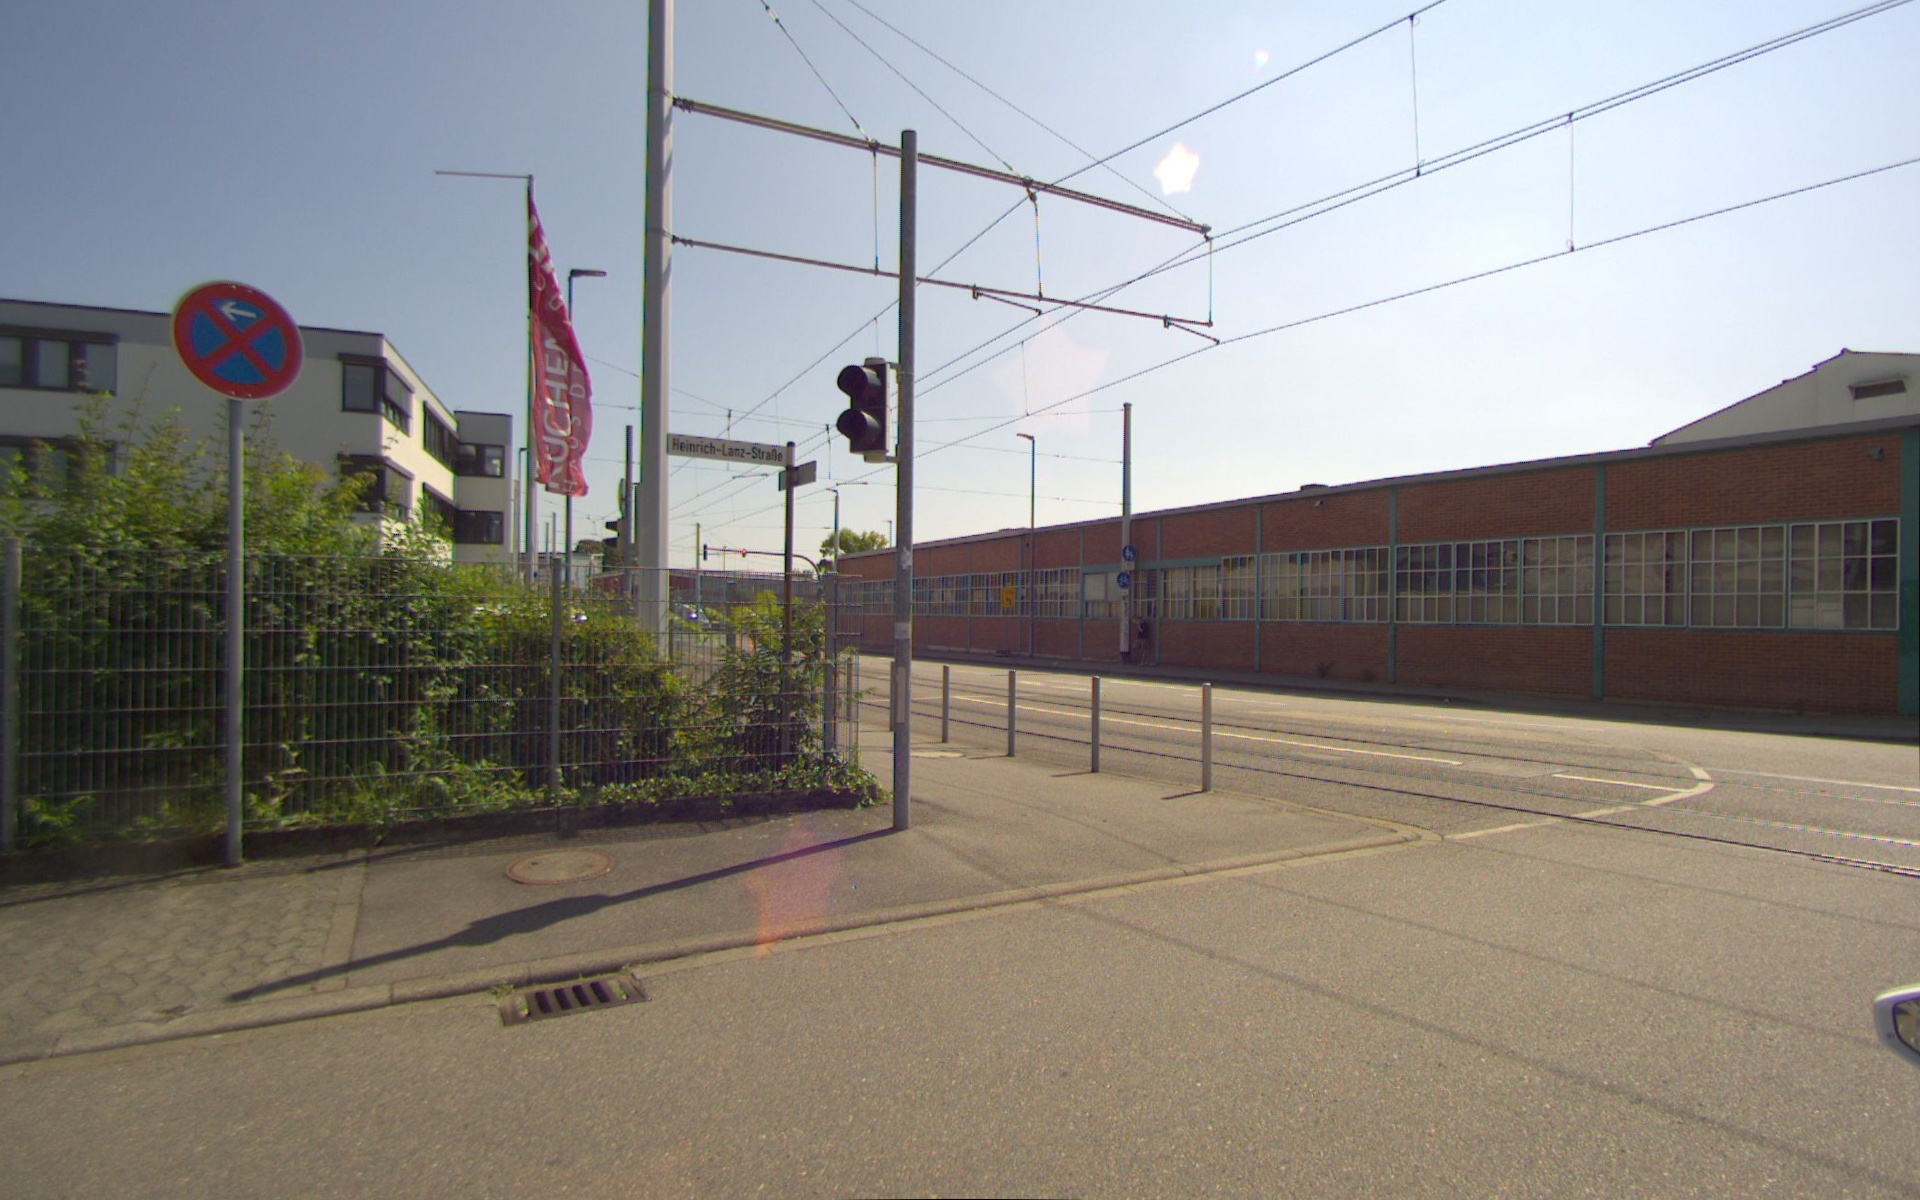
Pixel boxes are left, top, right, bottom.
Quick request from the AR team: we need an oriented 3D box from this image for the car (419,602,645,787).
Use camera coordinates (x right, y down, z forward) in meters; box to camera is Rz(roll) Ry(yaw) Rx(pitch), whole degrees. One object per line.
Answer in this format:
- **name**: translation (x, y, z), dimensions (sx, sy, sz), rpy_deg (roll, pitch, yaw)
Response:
- **car**: translation (-4.405, 0.826, 10.056), dimensions (1.692, 1.452, 3.927), rpy_deg (2, -2, -28)

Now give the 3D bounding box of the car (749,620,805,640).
- **car**: translation (-14.512, 2.400, 79.585), dimensions (4.154, 1.528, 1.993), rpy_deg (1, -1, -16)

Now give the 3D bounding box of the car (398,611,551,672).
- **car**: translation (-14.316, 1.206, 29.857), dimensions (3.945, 1.728, 1.988), rpy_deg (1, -1, -25)

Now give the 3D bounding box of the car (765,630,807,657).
- **car**: translation (-10.357, 2.531, 59.616), dimensions (1.726, 1.478, 3.980), rpy_deg (0, -1, -22)

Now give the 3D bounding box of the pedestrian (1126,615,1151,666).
- **pedestrian**: translation (6.286, 1.427, 35.358), dimensions (0.676, 1.788, 0.447), rpy_deg (2, 1, -20)

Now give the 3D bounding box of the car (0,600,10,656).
- **car**: translation (-29.628, 0.818, 29.098), dimensions (1.974, 1.706, 3.973), rpy_deg (1, -1, -27)

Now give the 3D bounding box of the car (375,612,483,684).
- **car**: translation (-12.623, 1.100, 24.080), dimensions (1.714, 1.562, 3.820), rpy_deg (1, -1, -19)

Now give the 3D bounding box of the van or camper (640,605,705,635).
- **van or camper**: translation (-31.905, 2.210, 111.369), dimensions (6.851, 2.970, 2.353), rpy_deg (2, 1, 23)
